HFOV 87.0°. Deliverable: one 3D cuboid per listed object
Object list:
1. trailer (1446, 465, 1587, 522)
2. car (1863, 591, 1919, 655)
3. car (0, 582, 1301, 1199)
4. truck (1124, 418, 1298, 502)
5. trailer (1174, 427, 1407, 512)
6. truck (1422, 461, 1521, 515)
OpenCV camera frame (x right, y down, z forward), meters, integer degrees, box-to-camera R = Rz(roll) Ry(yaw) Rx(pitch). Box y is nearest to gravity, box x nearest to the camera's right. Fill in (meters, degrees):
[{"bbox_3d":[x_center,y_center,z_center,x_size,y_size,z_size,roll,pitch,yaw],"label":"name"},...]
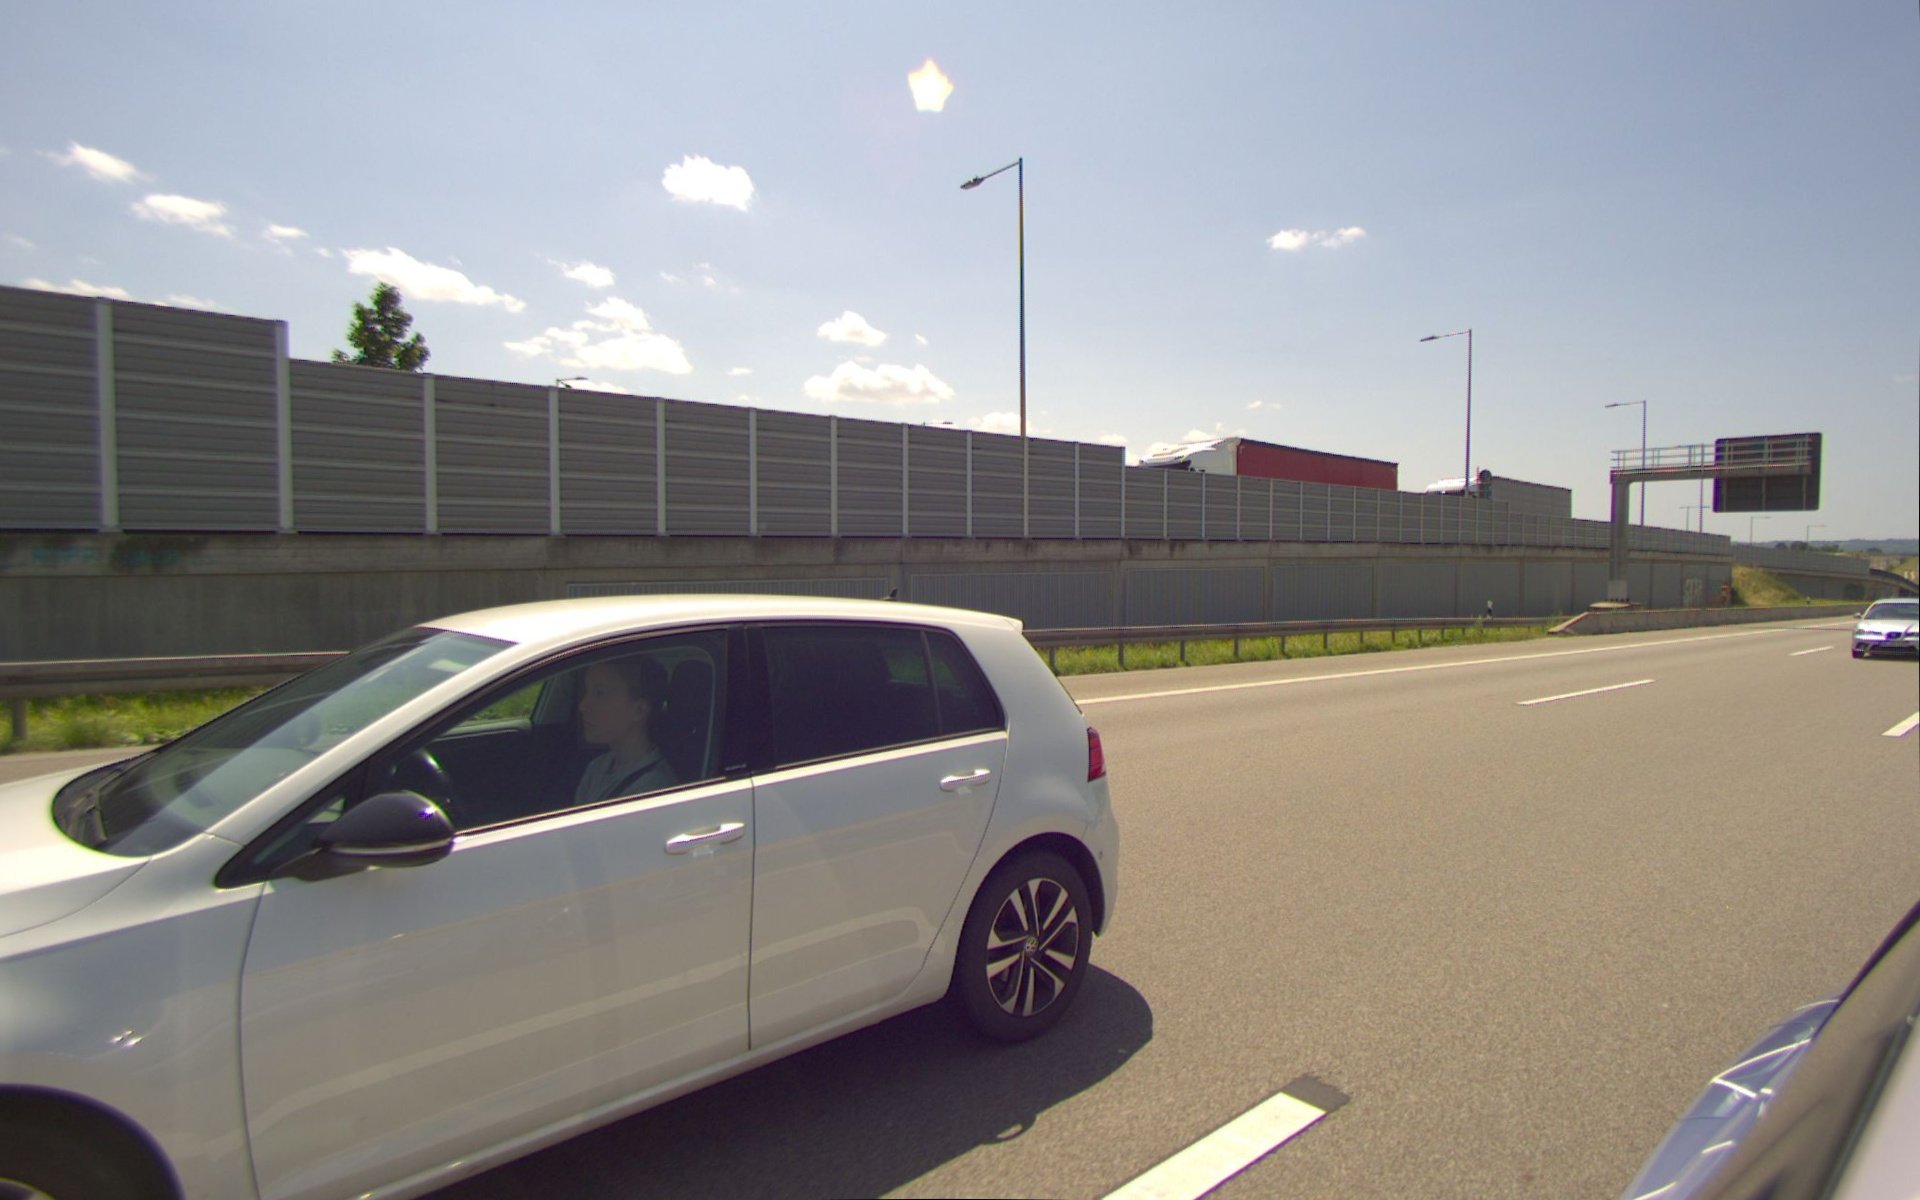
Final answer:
[{"bbox_3d":[32.198,-5.957,58.085,14.283,2.252,2.722,-1,1,-43],"label":"trailer"},{"bbox_3d":[23.098,0.502,24.375,3.932,1.407,1.632,-1,1,-42],"label":"car"},{"bbox_3d":[-0.862,0.680,3.440,4.610,1.451,1.779,-1,1,-41],"label":"car"},{"bbox_3d":[9.319,-4.986,37.082,7.165,2.232,2.710,-1,1,-43],"label":"truck"},{"bbox_3d":[13.946,-5.096,41.405,13.785,2.252,2.722,-1,1,-43],"label":"trailer"},{"bbox_3d":[26.921,-5.820,53.176,5.934,2.258,2.727,-1,1,-42],"label":"truck"}]
